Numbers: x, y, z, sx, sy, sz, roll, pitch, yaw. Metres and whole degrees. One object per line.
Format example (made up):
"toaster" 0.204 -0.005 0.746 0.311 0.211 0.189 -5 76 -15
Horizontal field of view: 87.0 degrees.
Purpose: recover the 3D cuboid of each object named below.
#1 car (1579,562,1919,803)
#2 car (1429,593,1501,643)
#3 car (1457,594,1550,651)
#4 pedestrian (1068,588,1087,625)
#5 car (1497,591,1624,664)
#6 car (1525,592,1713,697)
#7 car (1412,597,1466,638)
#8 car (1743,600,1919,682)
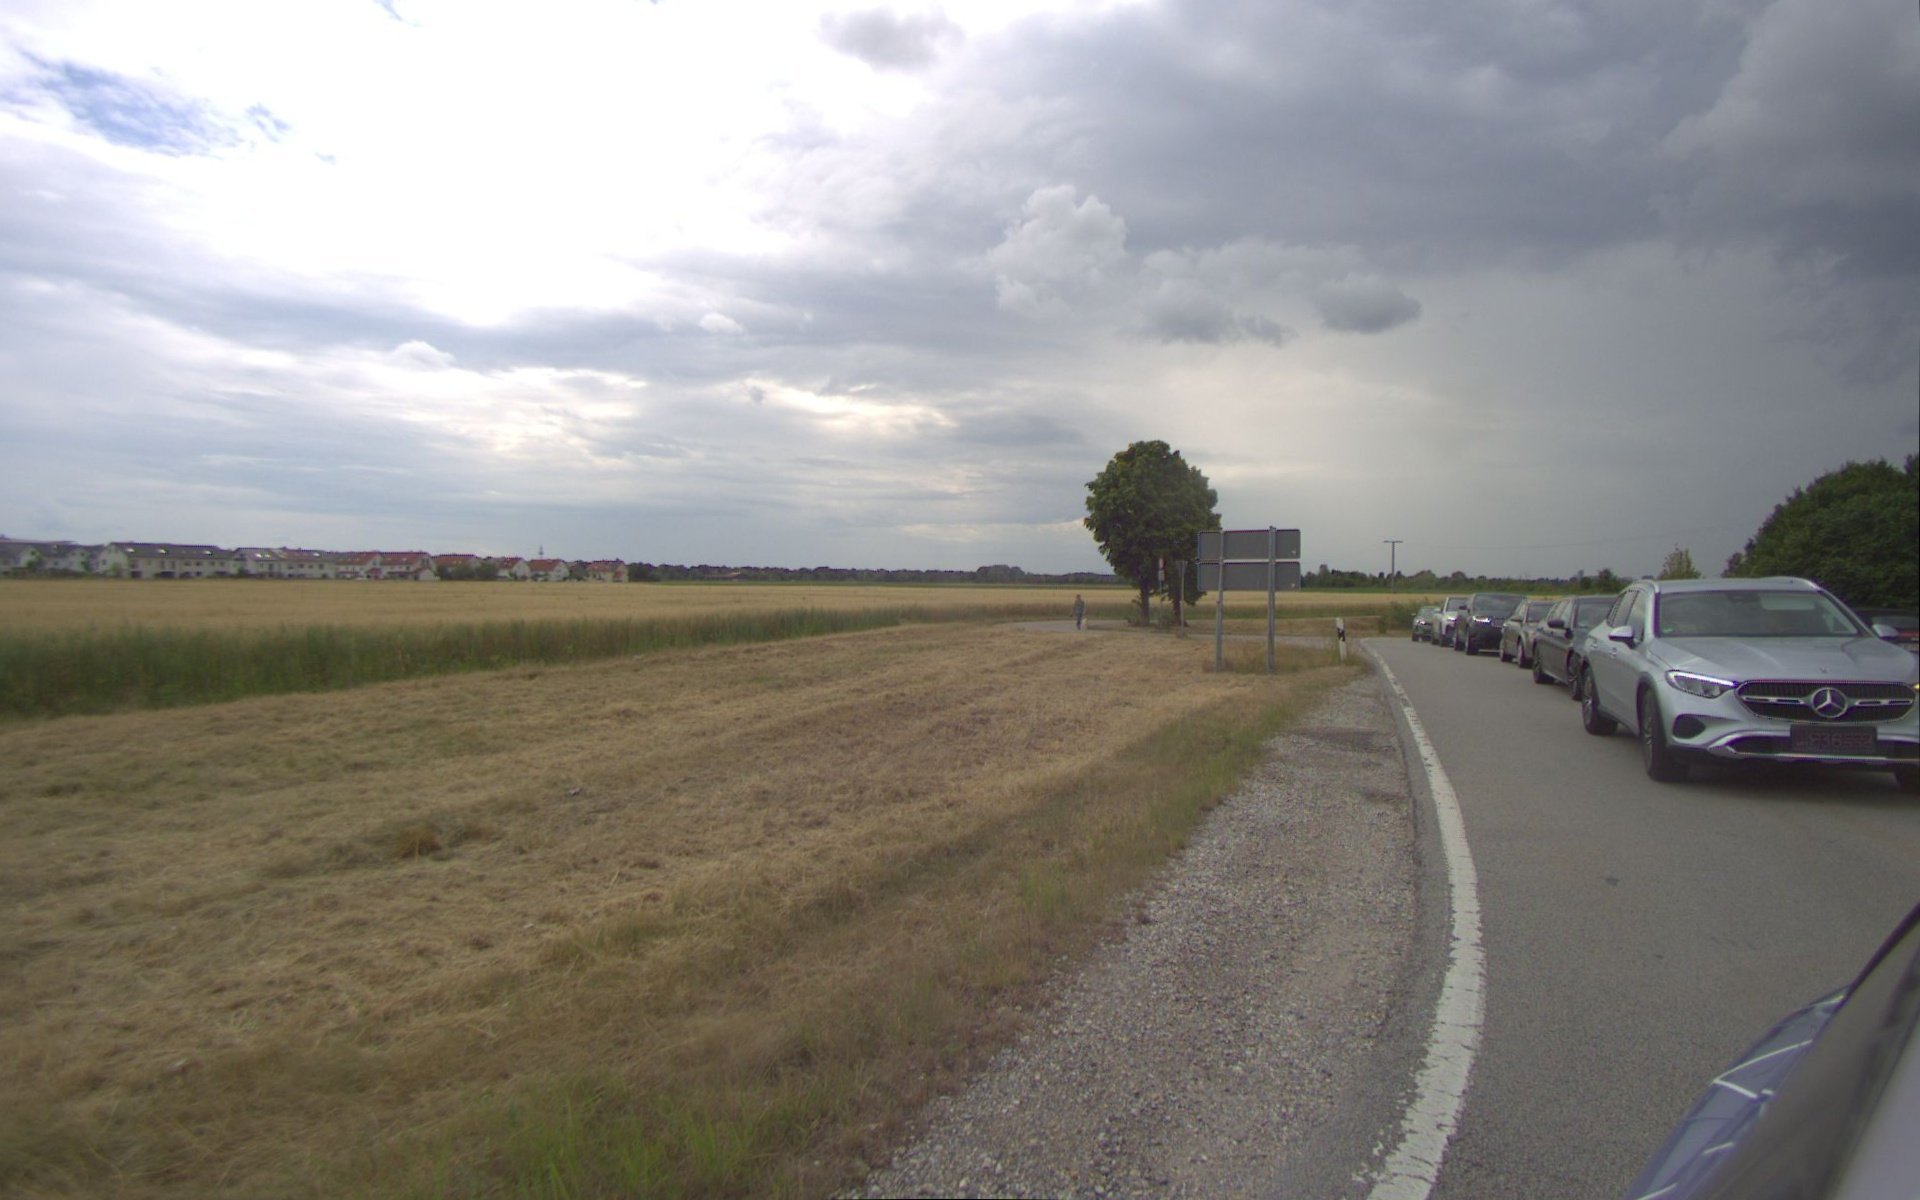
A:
"car" 6.956 0.519 8.901 1.975 1.606 4.358 -1 0 24
"car" 16.759 0.550 33.765 1.701 1.513 4.606 -1 0 21
"car" 14.591 0.564 27.367 1.701 1.370 4.184 -1 0 21
"pedestrian" 5.317 0.290 45.887 0.759 1.631 0.944 1 1 4
"car" 12.946 0.511 22.064 1.702 1.370 4.184 1 1 21
"car" 10.211 0.594 16.032 1.703 1.370 4.658 -1 0 24
"car" 19.665 0.681 41.680 1.701 1.513 4.184 -1 0 21
"car" 16.922 0.718 19.179 1.649 1.370 4.152 1 0 13
